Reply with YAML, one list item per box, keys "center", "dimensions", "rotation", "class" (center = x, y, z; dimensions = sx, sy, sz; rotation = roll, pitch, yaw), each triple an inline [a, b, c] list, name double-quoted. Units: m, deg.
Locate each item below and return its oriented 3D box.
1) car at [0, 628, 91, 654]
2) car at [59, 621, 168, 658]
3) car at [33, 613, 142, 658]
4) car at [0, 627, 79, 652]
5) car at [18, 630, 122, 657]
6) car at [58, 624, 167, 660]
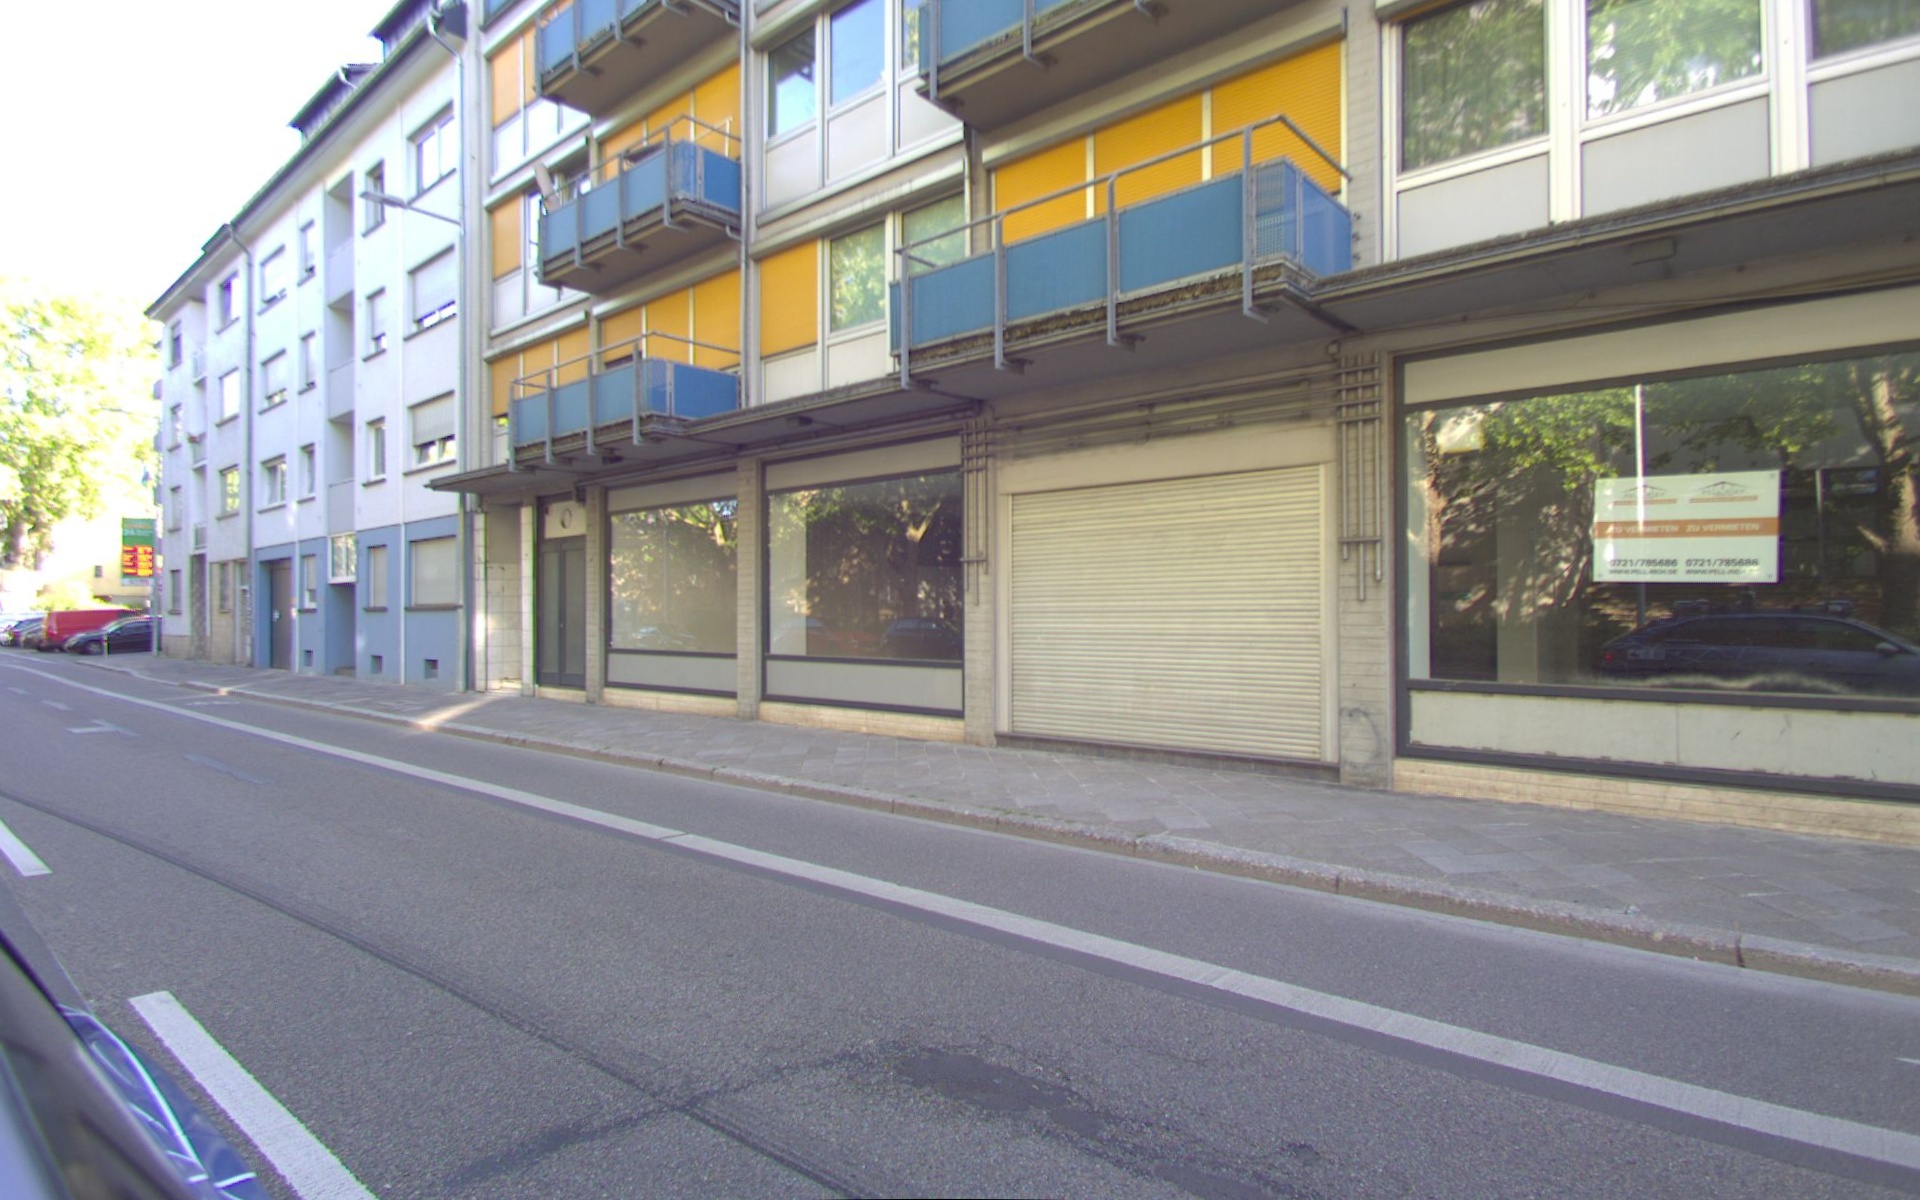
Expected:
- center: [-50.445, 2.225, 55.873]
  dimensions: [1.345, 1.254, 3.638]
  rotation: [-1, 0, 43]
  class: "car"
- center: [-38.191, 1.753, 45.722]
  dimensions: [1.490, 1.523, 3.638]
  rotation: [-1, 0, 43]
  class: "car"
- center: [-40.650, 1.633, 47.221]
  dimensions: [1.488, 1.923, 3.642]
  rotation: [-4, -2, 39]
  class: "car"
- center: [-52.259, 2.233, 57.502]
  dimensions: [1.345, 1.254, 3.228]
  rotation: [-1, 0, 43]
  class: "car"
- center: [-42.813, 2.058, 48.736]
  dimensions: [1.345, 1.137, 3.638]
  rotation: [-1, 0, 43]
  class: "car"
- center: [-36.675, 1.796, 43.841]
  dimensions: [1.490, 1.398, 3.462]
  rotation: [-1, 0, 43]
  class: "car"
